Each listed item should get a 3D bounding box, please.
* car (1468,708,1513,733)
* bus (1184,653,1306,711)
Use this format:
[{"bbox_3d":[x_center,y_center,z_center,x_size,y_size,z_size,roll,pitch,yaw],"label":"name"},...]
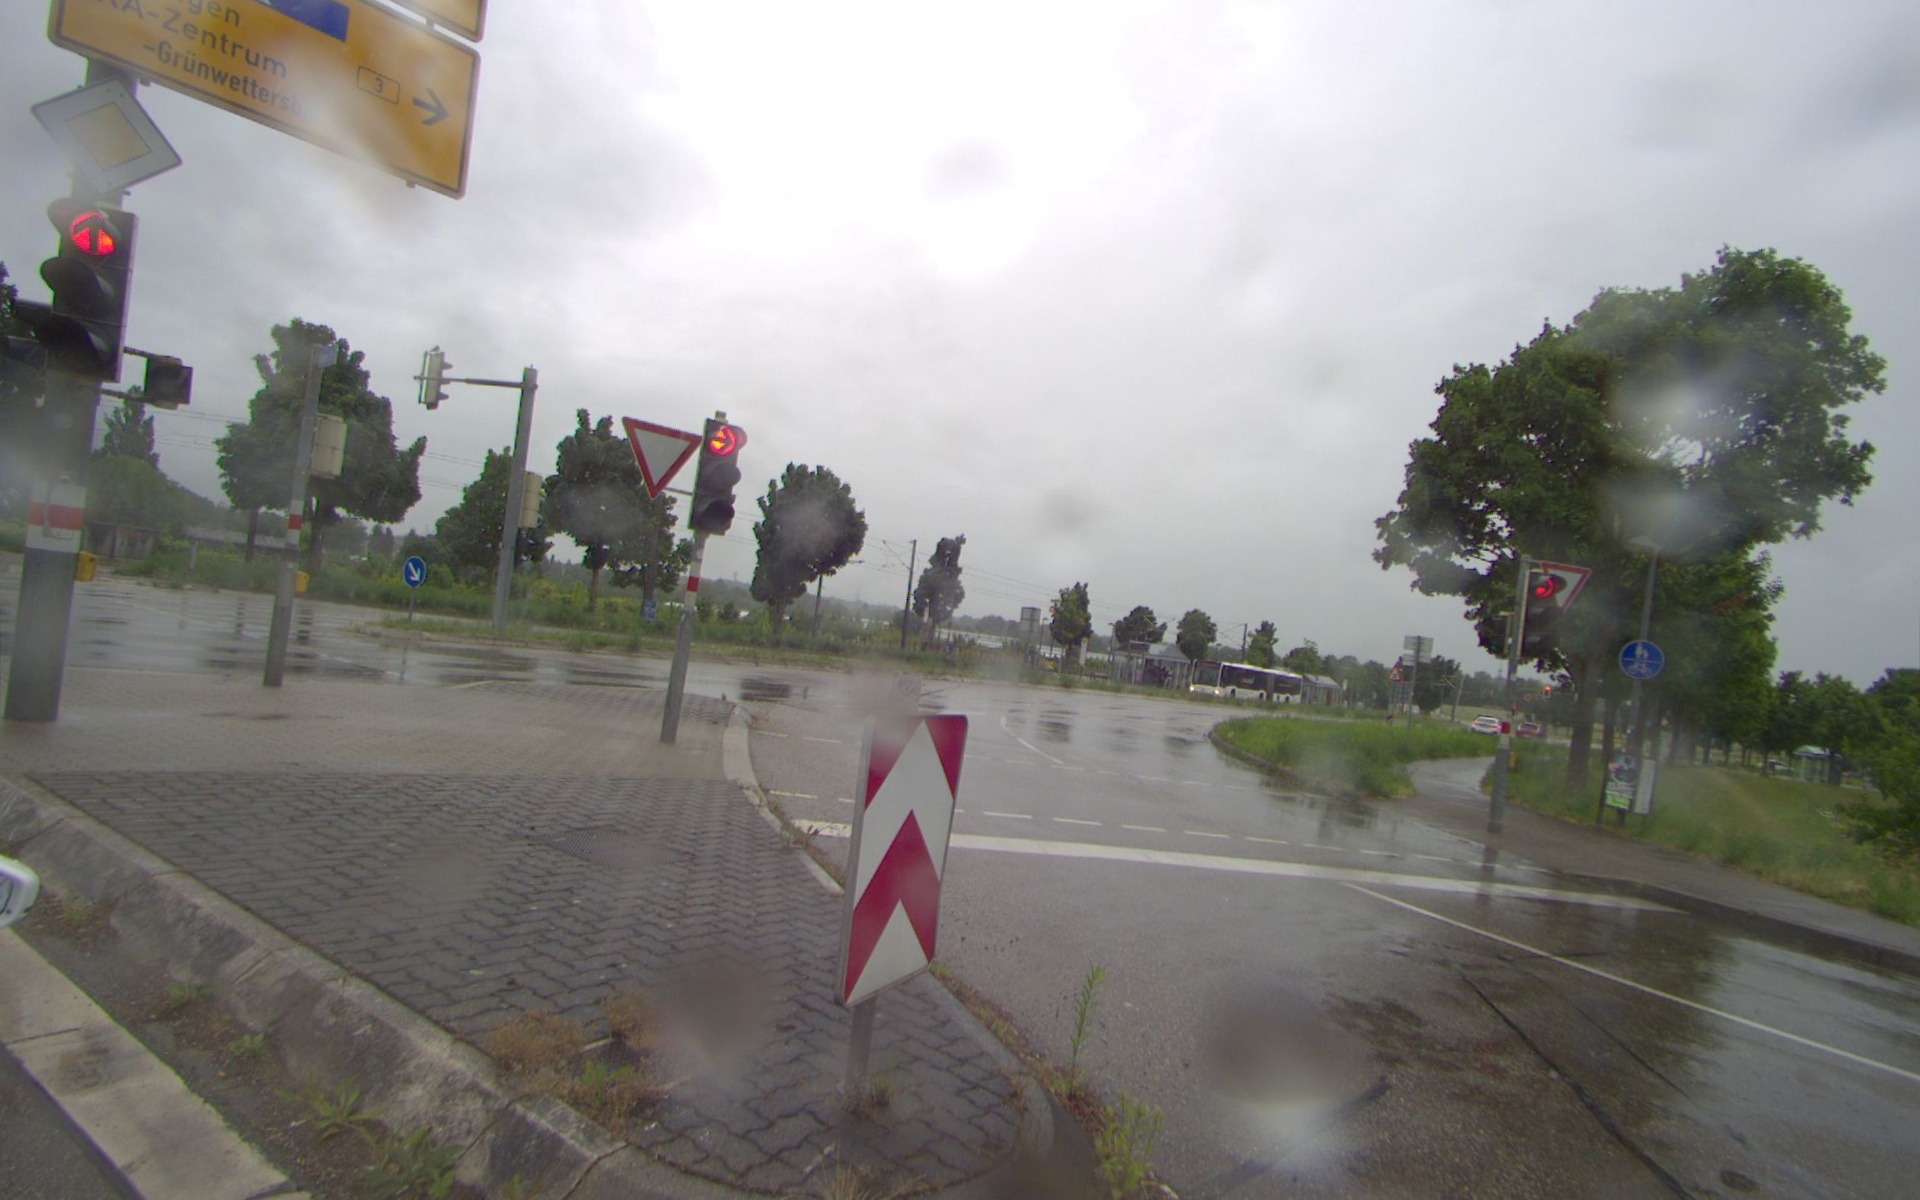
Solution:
[{"bbox_3d":[36.599,8.331,69.329,1.853,1.370,4.036,6,-2,40],"label":"car"},{"bbox_3d":[24.279,7.062,84.280,2.715,3.828,18.378,7,-2,38],"label":"bus"}]
